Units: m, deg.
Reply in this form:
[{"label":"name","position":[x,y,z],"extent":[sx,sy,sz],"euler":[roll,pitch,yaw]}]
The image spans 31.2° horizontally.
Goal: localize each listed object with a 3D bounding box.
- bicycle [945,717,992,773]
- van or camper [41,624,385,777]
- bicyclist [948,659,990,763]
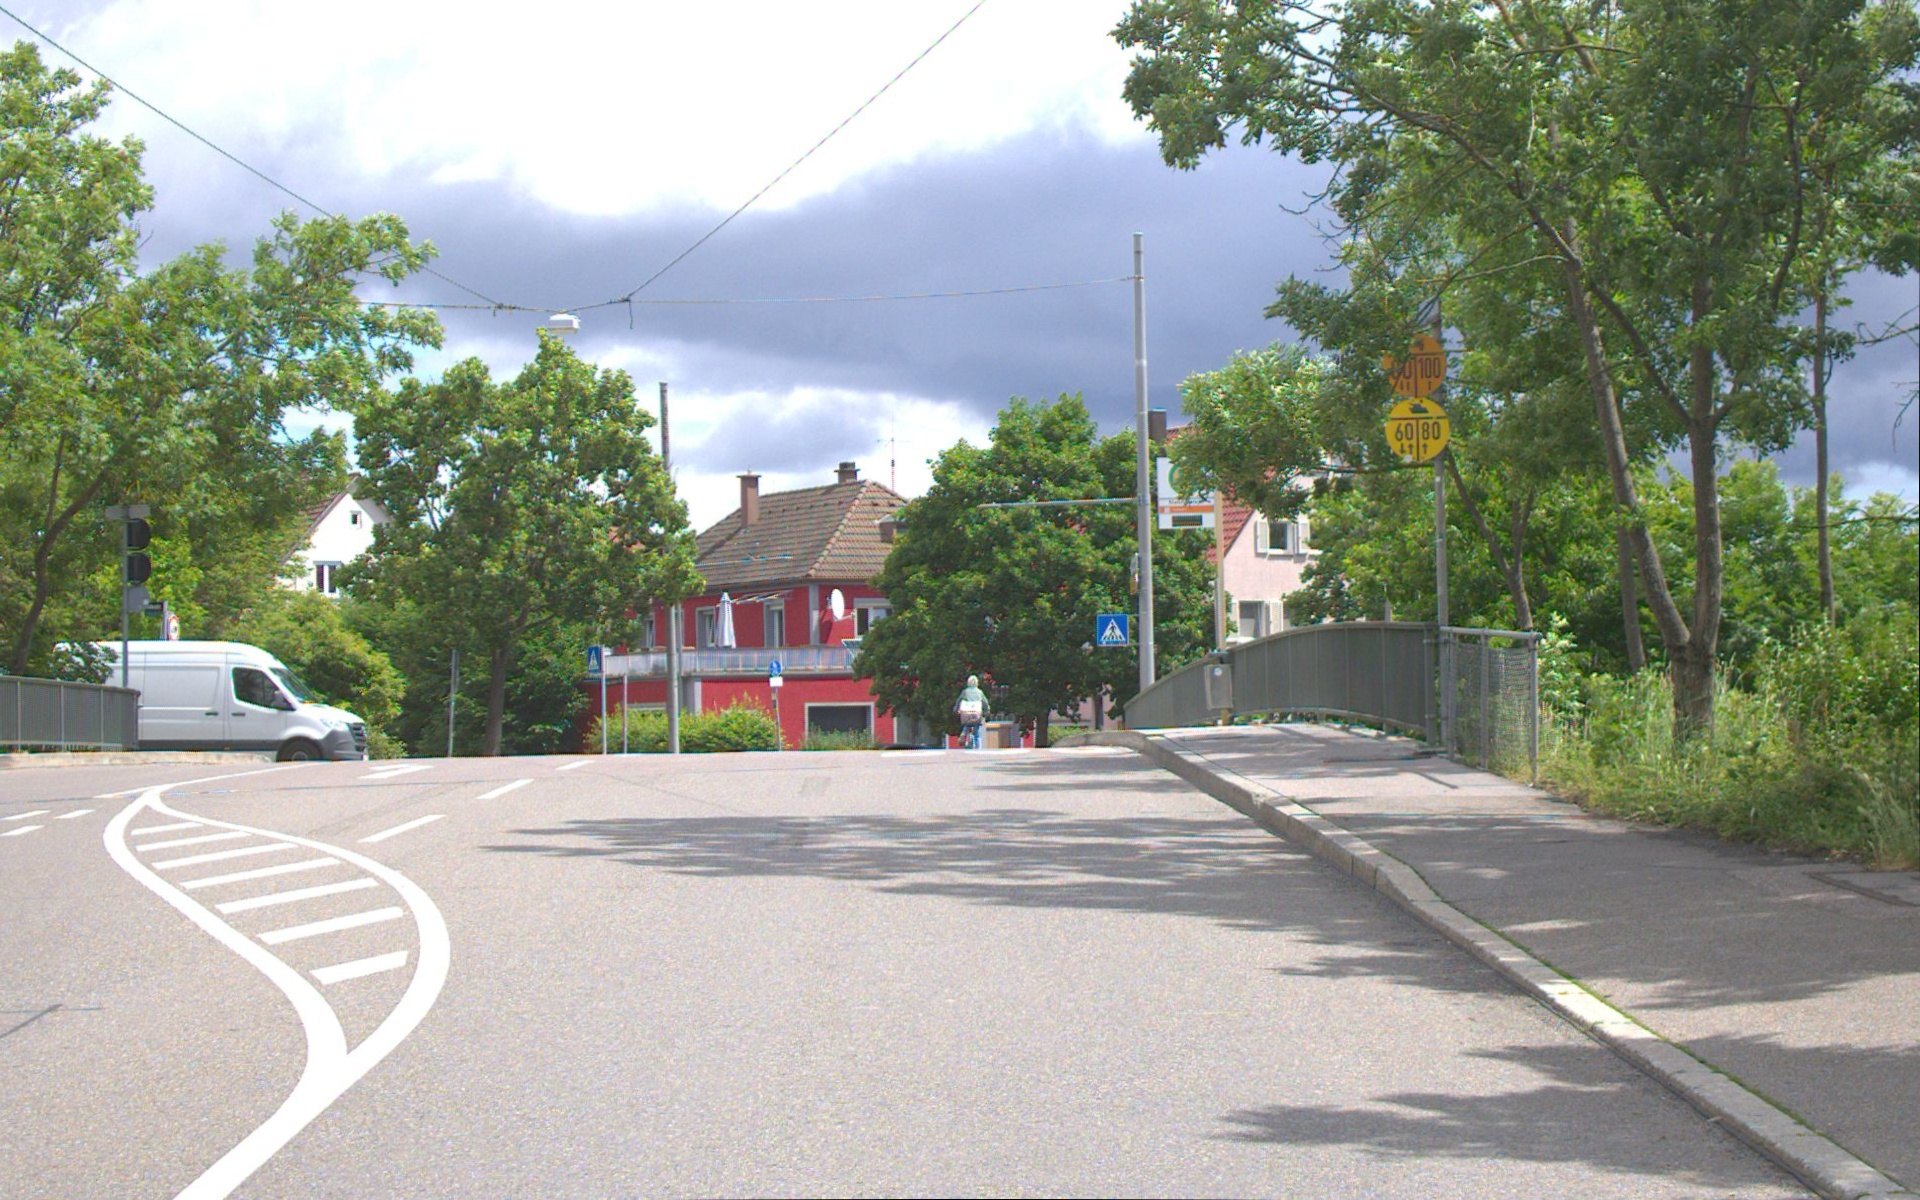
[{"label":"bicycle","position":[0.160,2.649,62.603],"extent":[0.688,0.875,2.101],"euler":[0,-6,5]},{"label":"van or camper","position":[-13.920,1.902,64.271],"extent":[5.909,2.559,2.193],"euler":[-2,-4,1]},{"label":"bicyclist","position":[0.165,2.031,62.633],"extent":[0.684,1.820,1.080],"euler":[0,-6,4]}]
